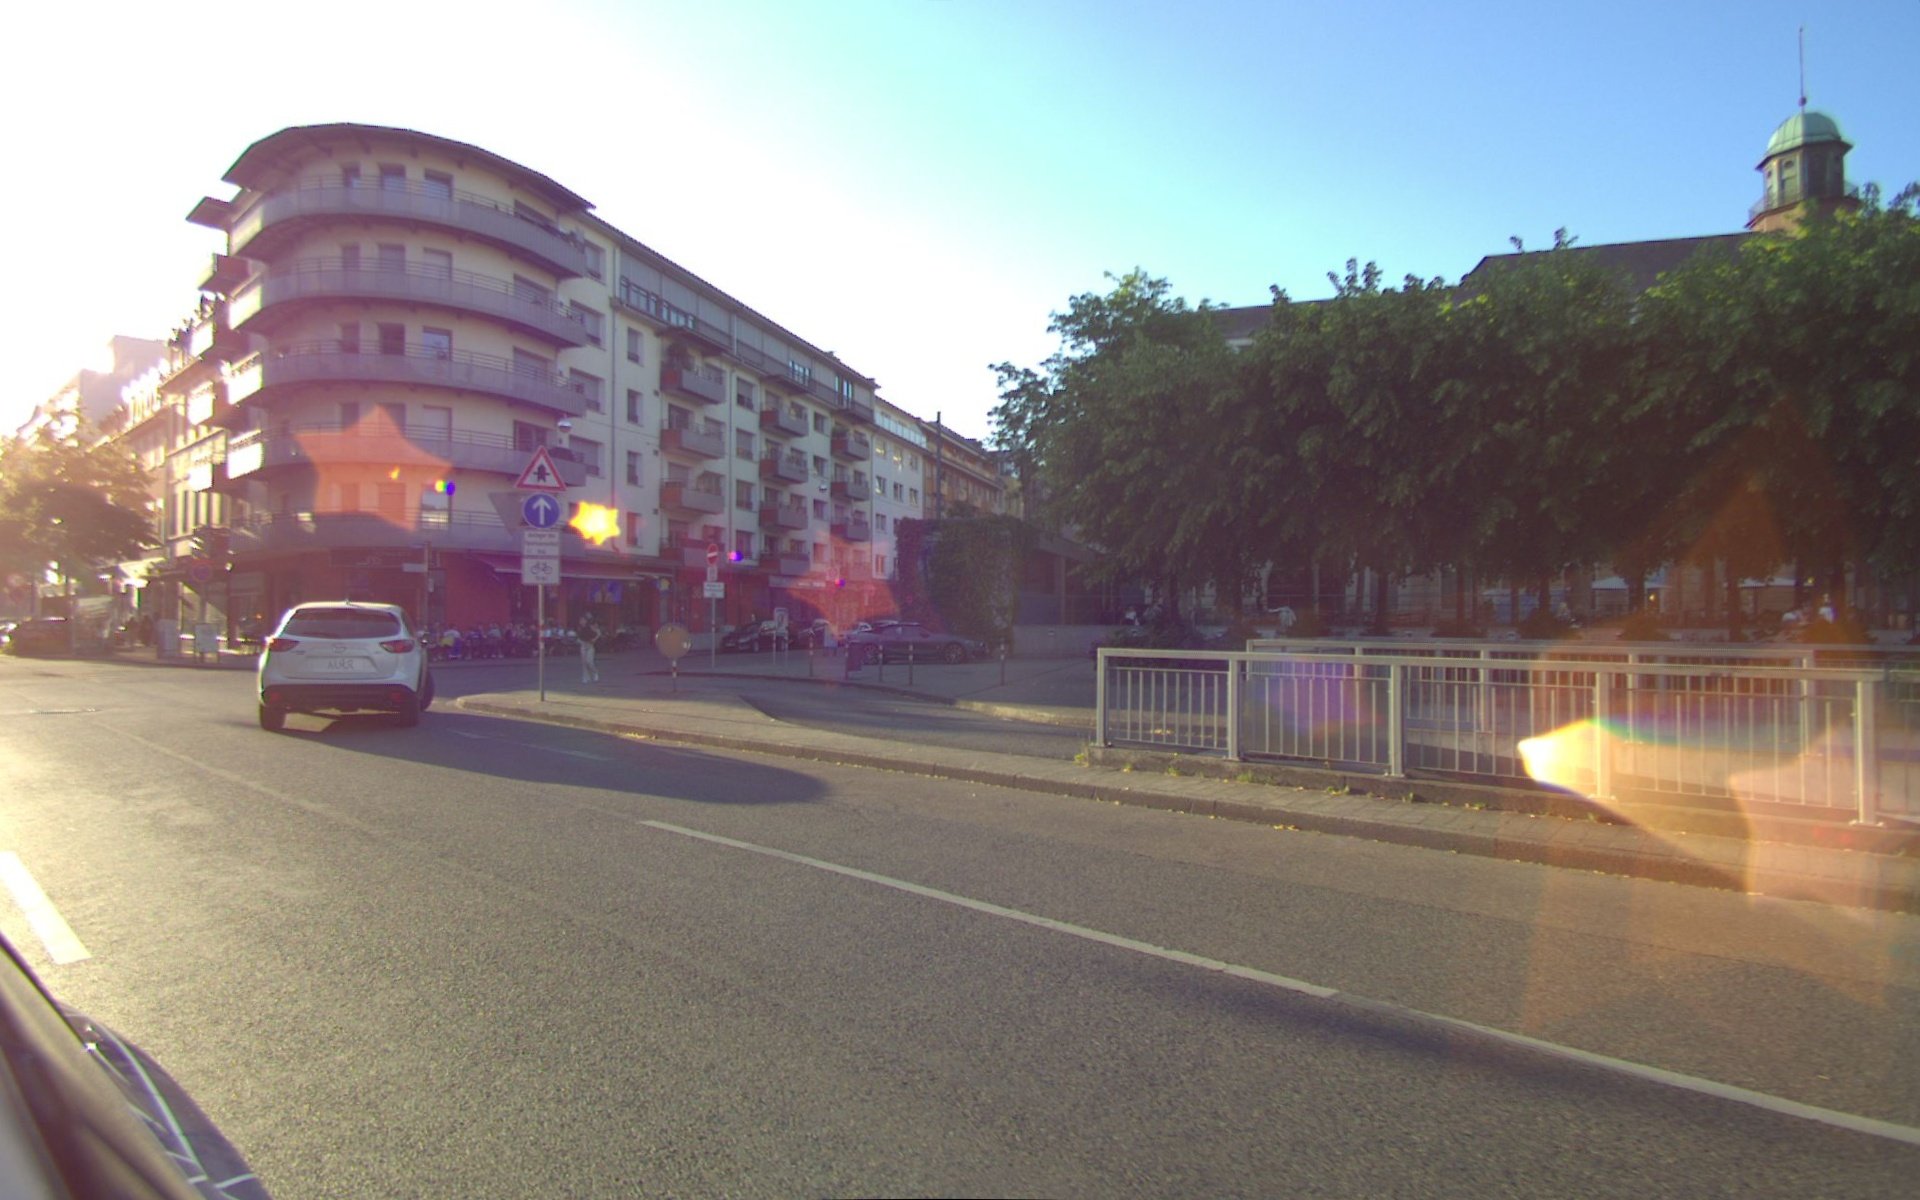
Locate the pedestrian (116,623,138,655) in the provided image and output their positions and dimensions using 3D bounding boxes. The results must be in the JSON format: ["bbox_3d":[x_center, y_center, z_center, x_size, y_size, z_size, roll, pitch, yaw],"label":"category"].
[{"bbox_3d":[-41.691,1.953,50.656,0.875,1.539,0.726,1,1,42],"label":"pedestrian"}]

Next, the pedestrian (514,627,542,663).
[{"bbox_3d":[-16.053,1.666,37.607,0.699,1.297,0.615,1,-1,32],"label":"pedestrian"}]

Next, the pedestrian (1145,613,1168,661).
[{"bbox_3d":[6.678,1.258,34.396,0.696,1.598,0.618,1,-1,18],"label":"pedestrian"}]

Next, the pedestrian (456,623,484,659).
[{"bbox_3d":[-17.730,1.484,36.648,0.699,1.256,0.615,1,-1,32],"label":"pedestrian"}]

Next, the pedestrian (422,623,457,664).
[{"bbox_3d":[-18.015,1.495,35.012,0.827,1.358,0.740,1,-1,35],"label":"pedestrian"}]

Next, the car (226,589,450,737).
[{"bbox_3d":[-8.736,0.832,14.651,1.965,1.774,4.480,2,-2,-22],"label":"car"}]

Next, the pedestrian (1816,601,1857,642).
[{"bbox_3d":[24.607,0.597,28.419,0.605,1.128,0.711,-1,-1,16],"label":"pedestrian"}]

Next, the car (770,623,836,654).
[{"bbox_3d":[-8.434,2.055,54.734,1.954,1.608,3.976,0,-1,18],"label":"car"}]

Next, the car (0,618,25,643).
[{"bbox_3d":[-65.202,2.081,67.197,1.888,1.608,4.361,-2,-1,40],"label":"car"}]

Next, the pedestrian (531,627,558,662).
[{"bbox_3d":[-15.734,1.675,38.344,0.699,1.297,0.615,1,-1,32],"label":"pedestrian"}]

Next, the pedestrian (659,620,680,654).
[{"bbox_3d":[-13.040,1.658,45.412,0.616,1.480,0.698,1,-1,15],"label":"pedestrian"}]

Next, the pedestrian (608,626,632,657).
[{"bbox_3d":[-14.382,1.749,42.771,0.696,1.297,0.617,1,-1,20],"label":"pedestrian"}]

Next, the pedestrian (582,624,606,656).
[{"bbox_3d":[-15.463,1.692,42.816,0.696,1.297,0.617,1,-1,20],"label":"pedestrian"}]

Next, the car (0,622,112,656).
[{"bbox_3d":[-42.793,1.811,47.335,1.820,1.418,4.525,-1,0,39],"label":"car"}]

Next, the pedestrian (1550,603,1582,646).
[{"bbox_3d":[18.432,0.741,30.790,0.648,1.289,0.787,1,-1,16],"label":"pedestrian"}]

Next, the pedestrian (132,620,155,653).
[{"bbox_3d":[-41.261,1.825,51.131,0.875,1.620,0.764,1,1,41],"label":"pedestrian"}]

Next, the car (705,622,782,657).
[{"bbox_3d":[-10.368,1.888,48.788,1.954,1.608,3.976,0,-1,18],"label":"car"}]

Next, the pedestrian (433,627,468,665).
[{"bbox_3d":[-17.233,1.543,34.234,0.827,1.256,0.715,1,-1,35],"label":"pedestrian"}]

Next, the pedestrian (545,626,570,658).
[{"bbox_3d":[-16.240,1.695,40.864,0.698,1.234,0.616,1,-1,28],"label":"pedestrian"}]

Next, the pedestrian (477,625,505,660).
[{"bbox_3d":[-17.291,1.560,37.317,0.699,1.256,0.615,1,-1,32],"label":"pedestrian"}]

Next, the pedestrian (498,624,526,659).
[{"bbox_3d":[-16.908,1.566,38.207,0.699,1.297,0.649,1,-1,32],"label":"pedestrian"}]

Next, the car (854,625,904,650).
[{"bbox_3d":[-5.280,2.425,66.392,1.954,1.608,3.976,0,-1,18],"label":"car"}]

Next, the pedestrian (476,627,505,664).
[{"bbox_3d":[-16.785,1.617,36.185,0.699,1.256,0.615,1,-1,32],"label":"pedestrian"}]

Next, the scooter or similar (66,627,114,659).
[{"bbox_3d":[-35.136,1.730,40.884,0.525,1.235,1.384,-1,-1,38],"label":"scooter or similar"}]

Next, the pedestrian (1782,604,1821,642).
[{"bbox_3d":[23.894,0.652,28.747,0.605,1.067,0.711,-1,-1,16],"label":"pedestrian"}]

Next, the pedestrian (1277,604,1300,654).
[{"bbox_3d":[10.691,0.951,32.987,0.648,1.598,0.787,1,-1,16],"label":"pedestrian"}]

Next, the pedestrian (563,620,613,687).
[{"bbox_3d":[-8.993,1.281,24.497,0.761,1.579,0.896,-1,-2,16],"label":"pedestrian"}]

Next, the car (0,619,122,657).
[{"bbox_3d":[-40.821,1.676,45.974,1.883,1.548,4.030,-1,0,41],"label":"car"}]

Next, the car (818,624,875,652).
[{"bbox_3d":[-6.680,2.219,60.067,1.954,1.608,3.976,0,-1,18],"label":"car"}]

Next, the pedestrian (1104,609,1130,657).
[{"bbox_3d":[5.395,1.122,34.808,0.763,1.598,0.686,1,-1,18],"label":"pedestrian"}]

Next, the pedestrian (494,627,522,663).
[{"bbox_3d":[-16.426,1.638,36.804,0.699,1.256,0.615,1,-1,32],"label":"pedestrian"}]

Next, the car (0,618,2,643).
[{"bbox_3d":[-60.267,1.866,60.995,1.714,1.513,3.520,-1,0,40],"label":"car"}]

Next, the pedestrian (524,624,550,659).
[{"bbox_3d":[-16.378,1.607,39.225,0.699,1.343,0.615,1,-1,32],"label":"pedestrian"}]

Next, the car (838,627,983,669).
[{"bbox_3d":[-1.608,1.561,33.455,4.479,1.328,1.993,0,-2,11],"label":"car"}]

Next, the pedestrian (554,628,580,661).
[{"bbox_3d":[-15.411,1.739,39.724,0.698,1.234,0.616,1,-1,28],"label":"pedestrian"}]
